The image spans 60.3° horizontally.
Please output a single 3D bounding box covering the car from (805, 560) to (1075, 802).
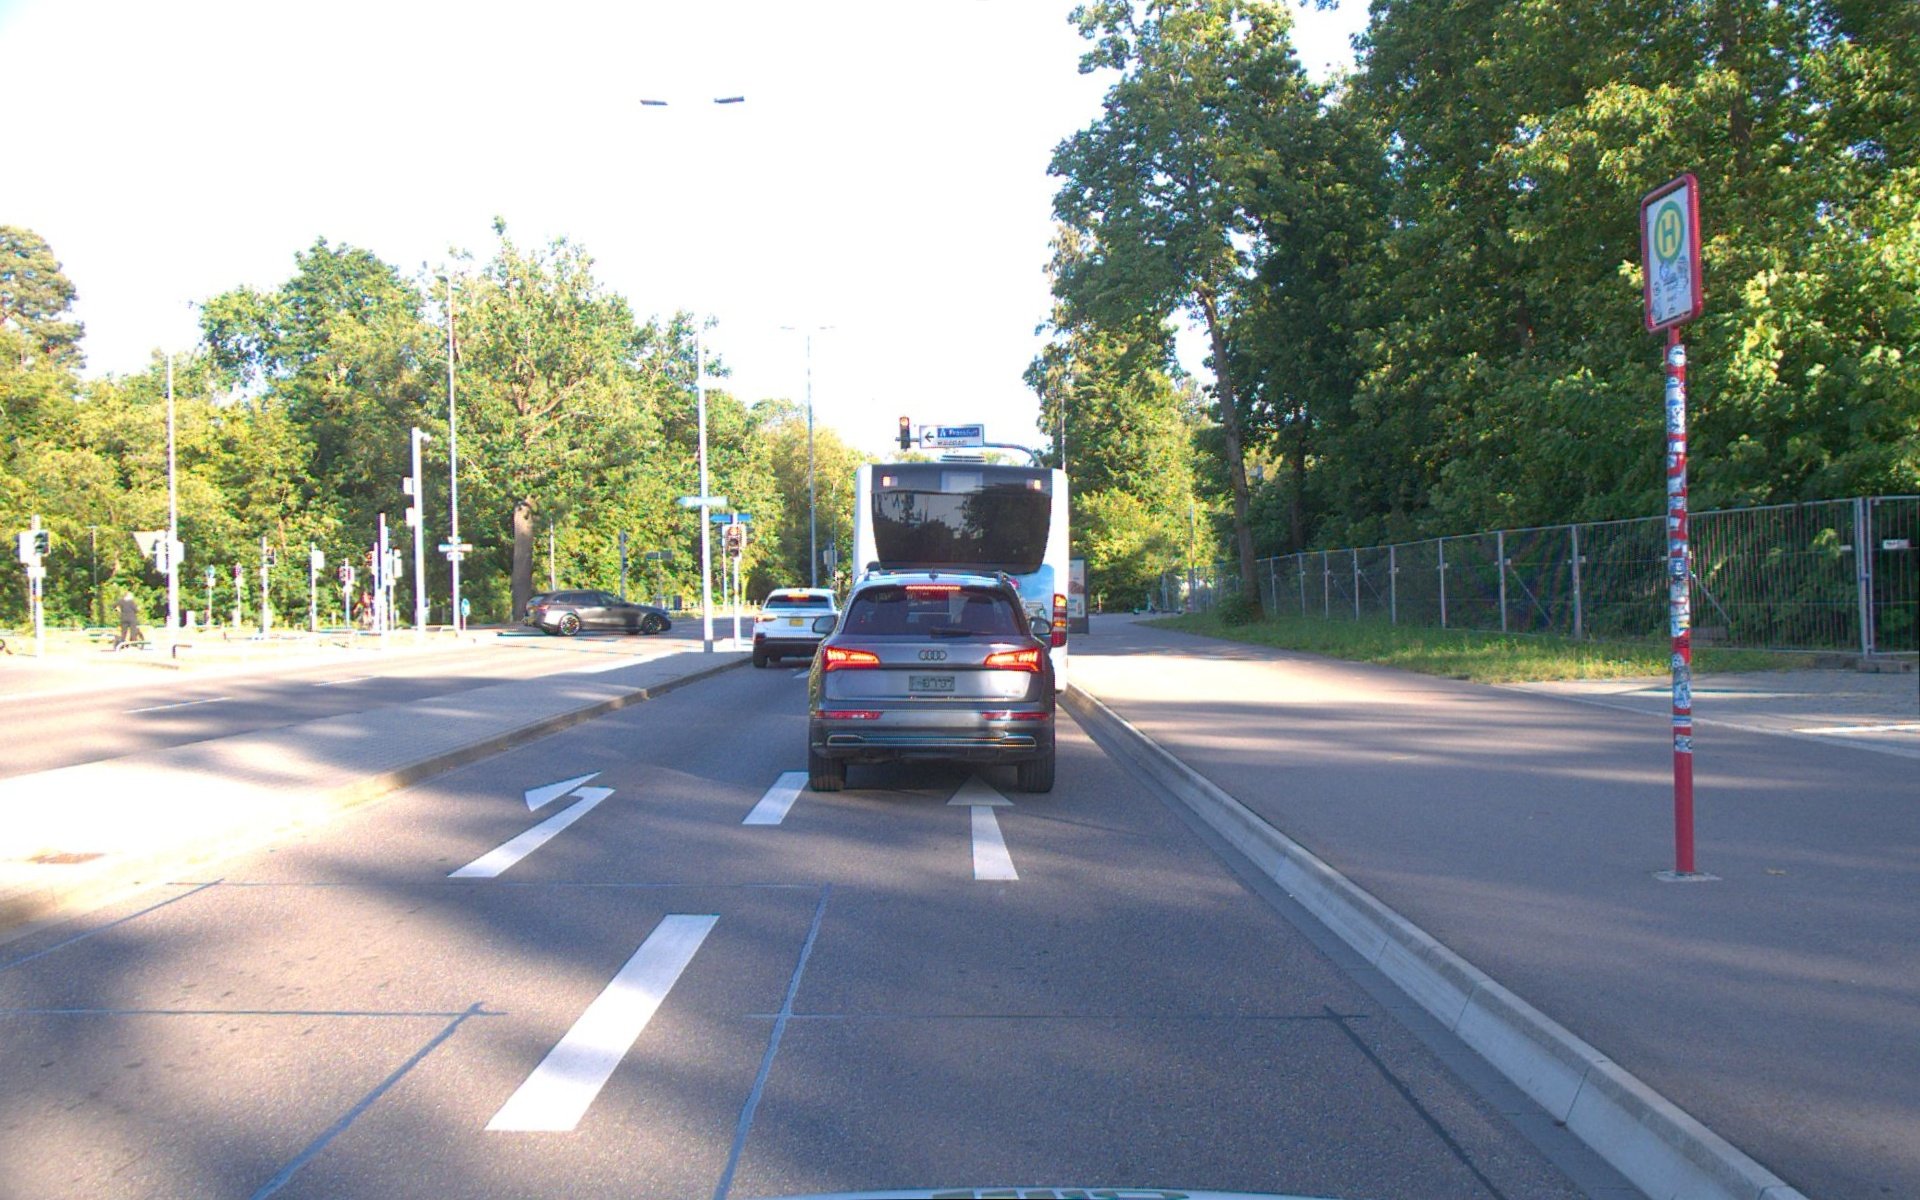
[{"bbox_3d":[-0.164,0.548,13.469,1.860,1.660,3.999,1,0,-1],"label":"car"}]

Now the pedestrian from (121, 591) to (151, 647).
[{"bbox_3d":[-24.018,0.556,48.198,0.643,1.587,0.531,-2,0,-43],"label":"pedestrian"}]

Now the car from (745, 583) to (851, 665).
[{"bbox_3d":[-3.233,0.451,33.714,1.799,1.545,3.999,-1,0,-1],"label":"car"}]

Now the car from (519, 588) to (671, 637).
[{"bbox_3d":[-12.474,0.409,56.630,4.726,1.524,1.979,-2,0,-31],"label":"car"}]

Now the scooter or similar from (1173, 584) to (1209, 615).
[{"bbox_3d":[11.974,-0.026,85.792,0.535,1.594,1.993,-2,0,-39],"label":"scooter or similar"}]

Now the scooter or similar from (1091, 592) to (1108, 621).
[{"bbox_3d":[7.316,0.324,87.018,0.498,1.469,2.020,-2,0,-6],"label":"scooter or similar"}]

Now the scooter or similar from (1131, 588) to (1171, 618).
[{"bbox_3d":[9.776,0.148,84.473,1.991,1.469,0.601,-2,0,-26],"label":"scooter or similar"}]

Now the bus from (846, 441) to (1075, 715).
[{"bbox_3d":[-0.051,-0.229,23.107,2.542,3.041,9.325,0,0,-1],"label":"bus"}]
